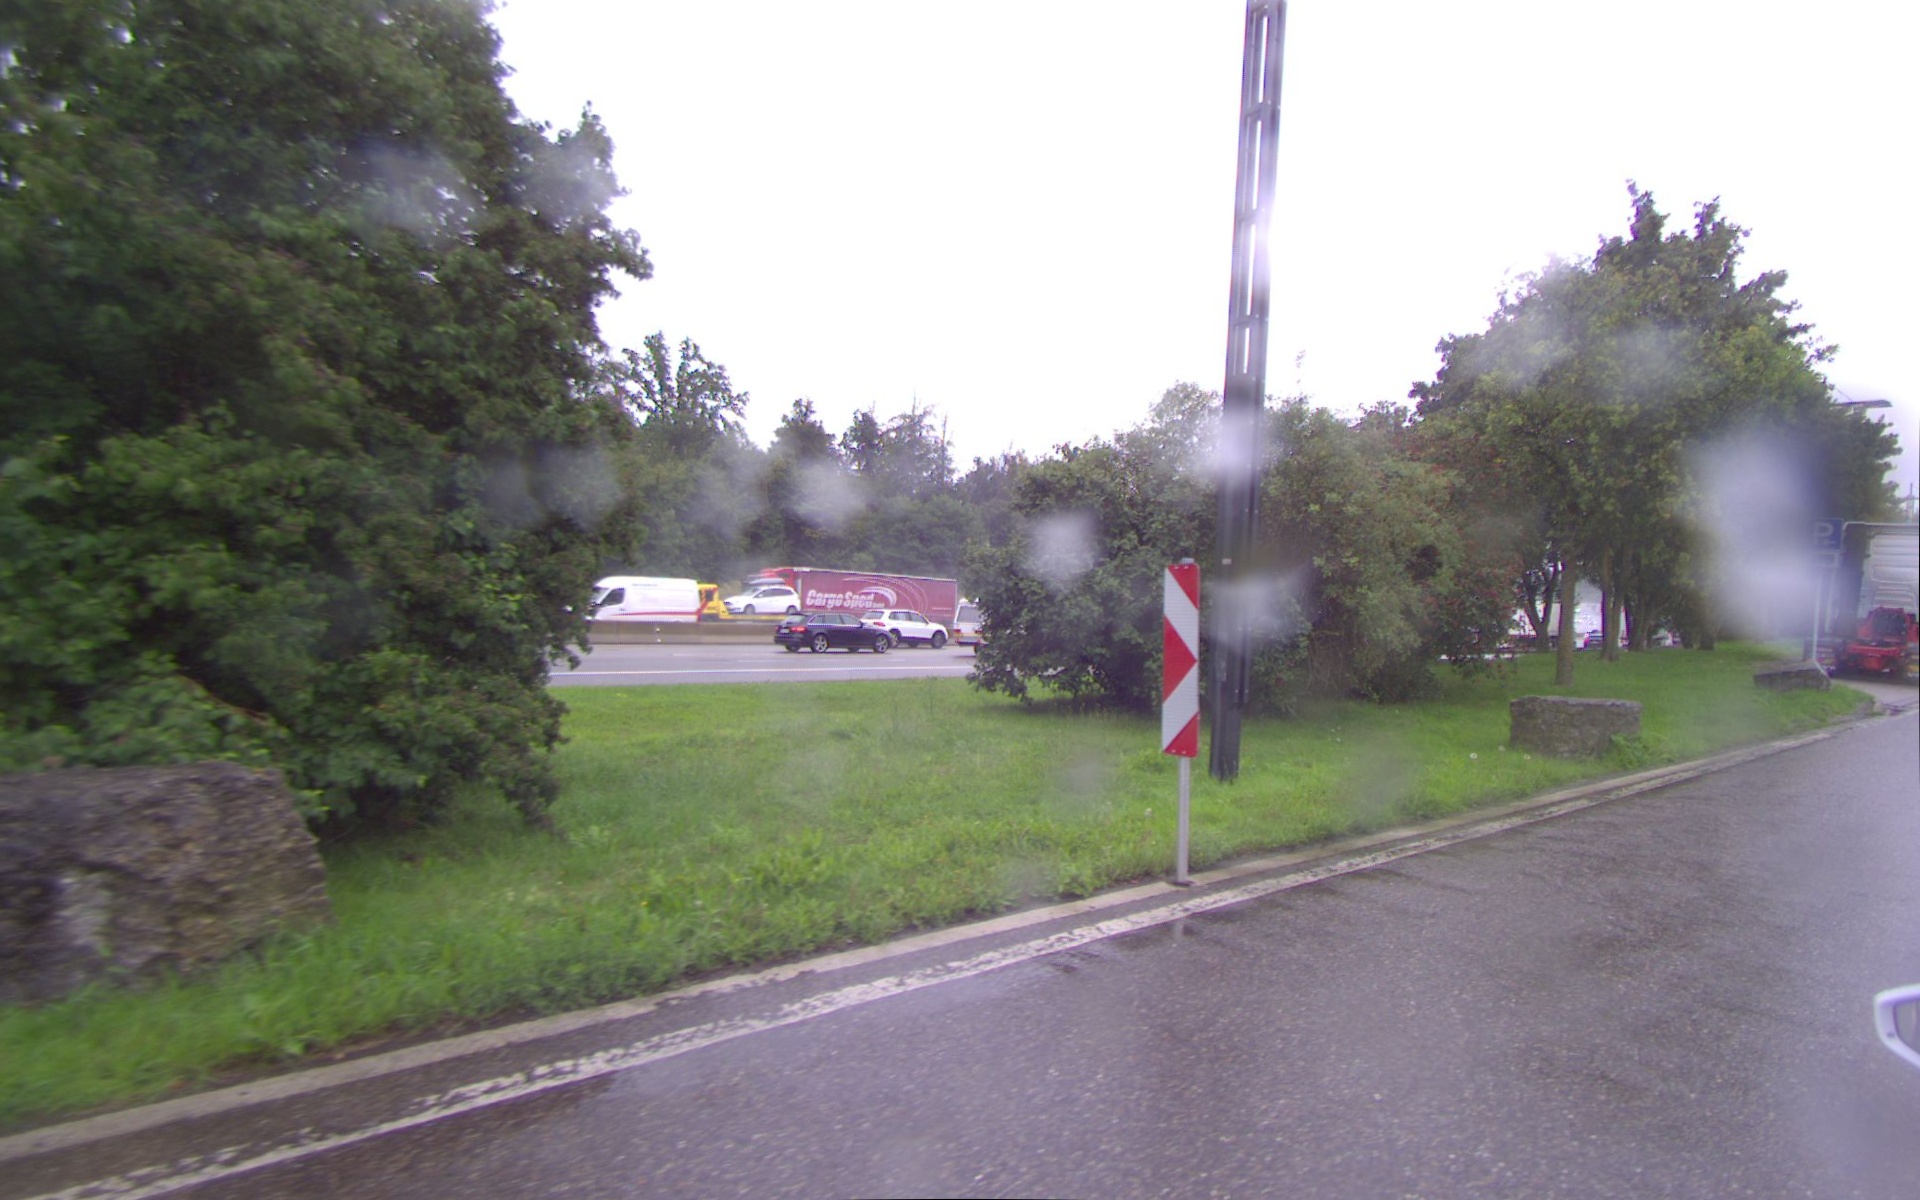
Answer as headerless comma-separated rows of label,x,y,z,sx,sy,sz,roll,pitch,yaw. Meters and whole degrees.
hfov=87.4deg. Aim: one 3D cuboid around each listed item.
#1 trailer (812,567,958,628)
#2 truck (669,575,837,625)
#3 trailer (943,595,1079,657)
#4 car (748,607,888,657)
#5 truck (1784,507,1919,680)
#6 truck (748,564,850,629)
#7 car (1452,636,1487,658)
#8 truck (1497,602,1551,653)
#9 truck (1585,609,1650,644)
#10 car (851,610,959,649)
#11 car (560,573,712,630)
trailer,-4.826,-0.102,67.085,2.430,3.662,10.676,6,4,44
truck,-10.981,0.062,54.313,9.254,2.492,2.080,1,-3,-45
trailer,1.987,1.010,37.695,5.144,2.184,2.109,3,-2,-43
car,-4.933,1.130,35.232,4.495,1.560,1.975,4,-2,-42
truck,23.540,-0.117,25.676,6.270,3.956,2.888,1,1,-43
truck,-9.868,-0.198,61.815,2.415,3.668,5.766,6,4,44
car,45.242,4.165,89.224,1.793,1.791,3.979,1,-1,42
truck,41.778,2.061,74.309,2.472,3.409,4.732,6,2,39
truck,69.050,2.726,105.556,1.985,3.044,5.195,0,5,-42
car,-2.363,1.291,43.923,4.495,1.561,1.975,3,-1,-42
car,-13.662,0.104,42.601,5.783,2.126,1.974,3,0,-43
